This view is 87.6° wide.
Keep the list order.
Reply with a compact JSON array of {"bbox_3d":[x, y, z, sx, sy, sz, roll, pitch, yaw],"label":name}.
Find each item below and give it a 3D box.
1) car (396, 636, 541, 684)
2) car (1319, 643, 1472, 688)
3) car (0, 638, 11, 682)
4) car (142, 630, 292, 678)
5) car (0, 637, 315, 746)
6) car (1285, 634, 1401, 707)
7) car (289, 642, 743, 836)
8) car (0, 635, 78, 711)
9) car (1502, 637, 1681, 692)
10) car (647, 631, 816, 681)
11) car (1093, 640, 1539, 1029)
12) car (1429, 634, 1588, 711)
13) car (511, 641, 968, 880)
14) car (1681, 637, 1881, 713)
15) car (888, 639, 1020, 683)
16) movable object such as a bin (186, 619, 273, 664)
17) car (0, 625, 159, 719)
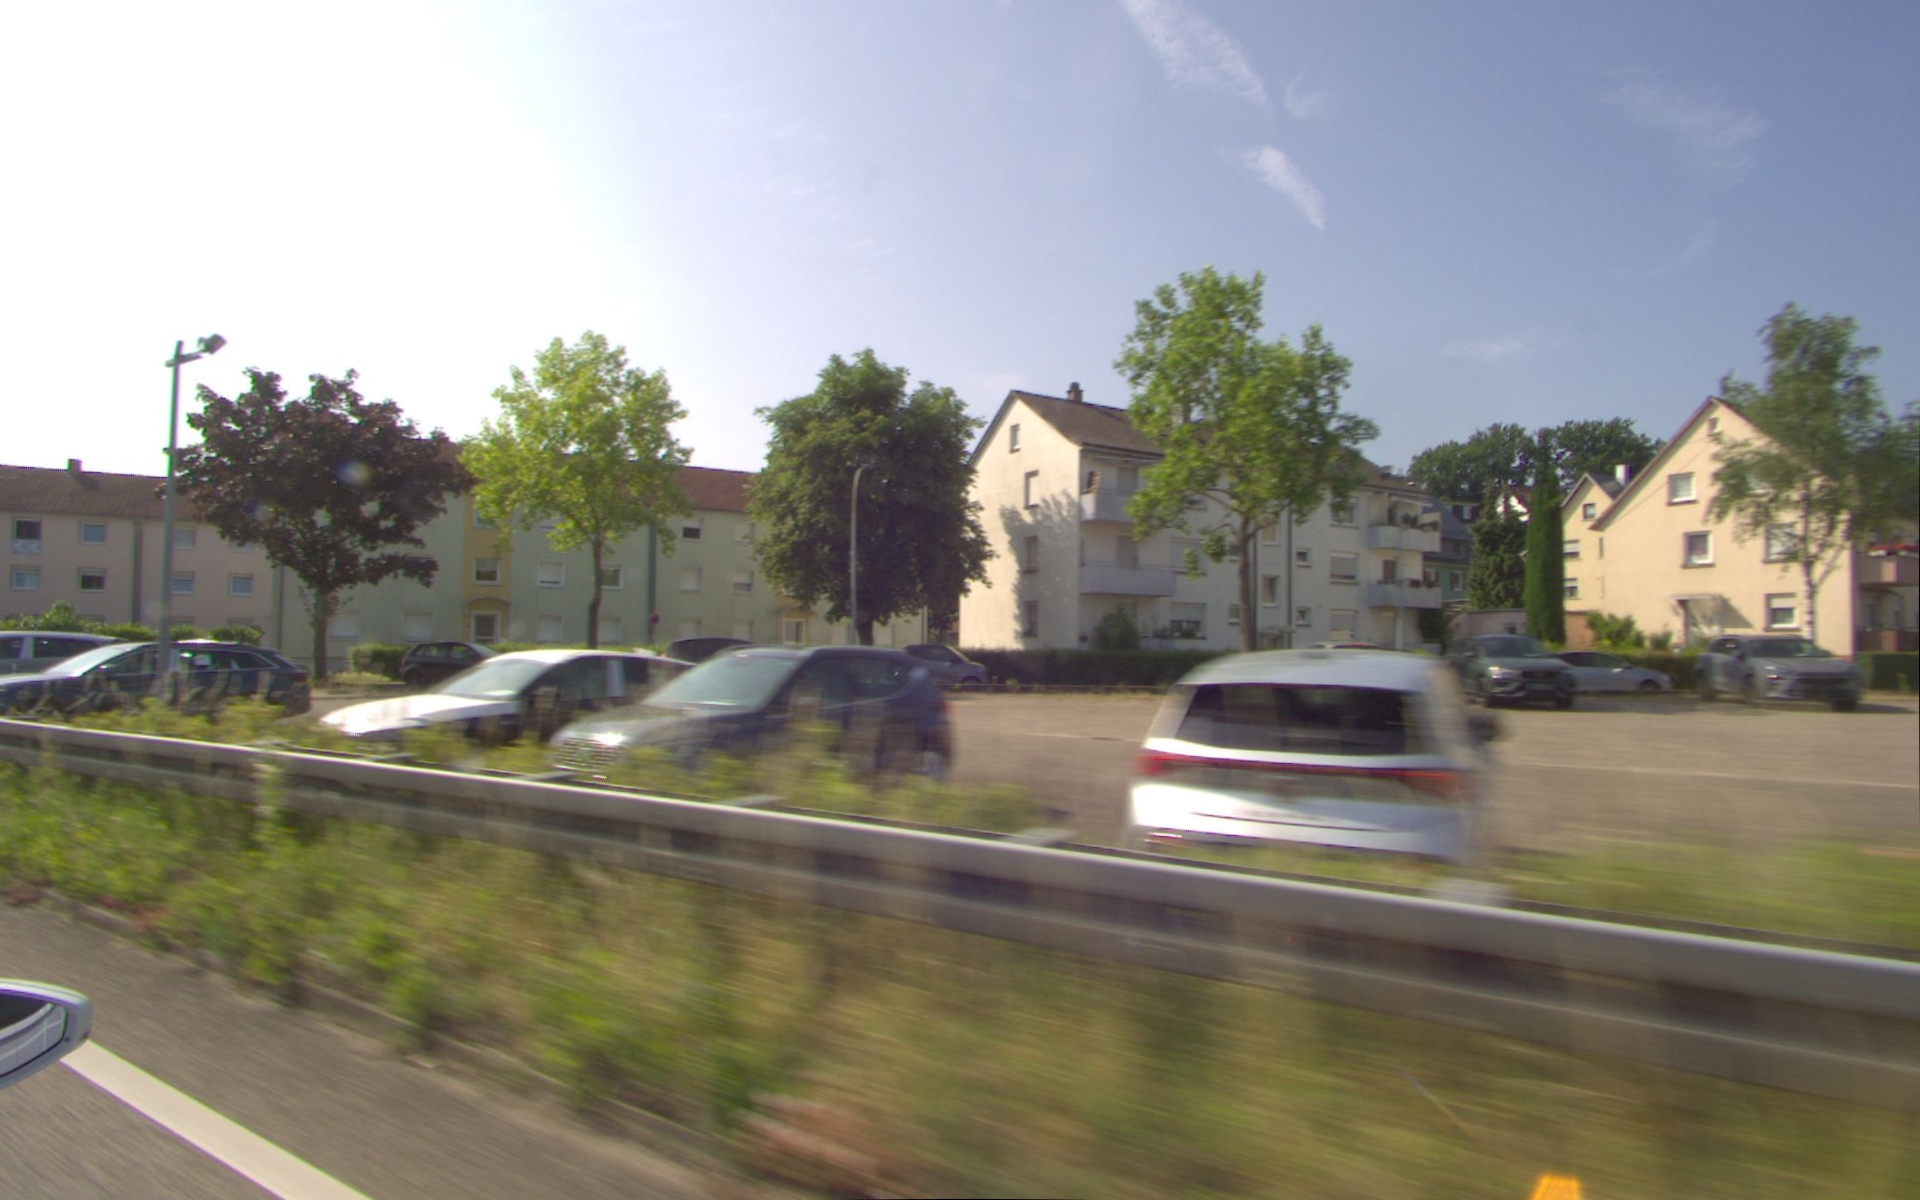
[{"bbox_3d":[-14.756,1.783,30.136,3.592,1.384,1.656,0,-2,8],"label":"car"},{"bbox_3d":[12.110,1.812,27.997,3.591,1.201,1.595,0,-2,4],"label":"car"},{"bbox_3d":[-34.070,1.965,33.120,4.355,1.438,1.788,0,-2,13],"label":"car"},{"bbox_3d":[-23.298,1.675,31.468,3.592,1.423,1.710,1,-2,8],"label":"car"},{"bbox_3d":[-12.701,1.310,15.516,1.604,1.462,4.316,-1,-2,30],"label":"car"},{"bbox_3d":[8.780,1.575,23.277,1.625,1.541,3.767,0,-2,6],"label":"car"},{"bbox_3d":[-4.241,1.207,10.198,1.674,1.541,3.980,-1,-2,32],"label":"car"},{"bbox_3d":[-20.313,1.410,19.664,1.856,1.501,4.142,-1,-4,34],"label":"car"},{"bbox_3d":[17.921,1.819,28.602,3.912,1.493,1.787,0,-2,9],"label":"car"},{"bbox_3d":[-6.662,1.624,29.403,4.438,1.423,1.915,0,-2,8],"label":"car"},{"bbox_3d":[2.507,1.059,6.328,1.754,1.600,3.979,-1,-2,33],"label":"car"},{"bbox_3d":[12.575,1.605,23.300,1.806,1.620,4.498,0,-2,9],"label":"car"},{"bbox_3d":[-1.696,1.168,8.874,1.782,1.588,3.840,-1,-2,32],"label":"car"},{"bbox_3d":[18.362,1.607,22.704,1.830,1.541,4.631,-1,-2,17],"label":"car"},{"bbox_3d":[-0.144,1.729,28.800,3.592,1.201,1.594,0,-2,8],"label":"car"},{"bbox_3d":[-40.176,2.321,55.160,3.473,2.385,1.584,1,-5,-20],"label":"movable object such as a bin"},{"bbox_3d":[-17.629,1.289,18.245,2.110,1.660,4.312,-1,-2,32],"label":"car"}]
